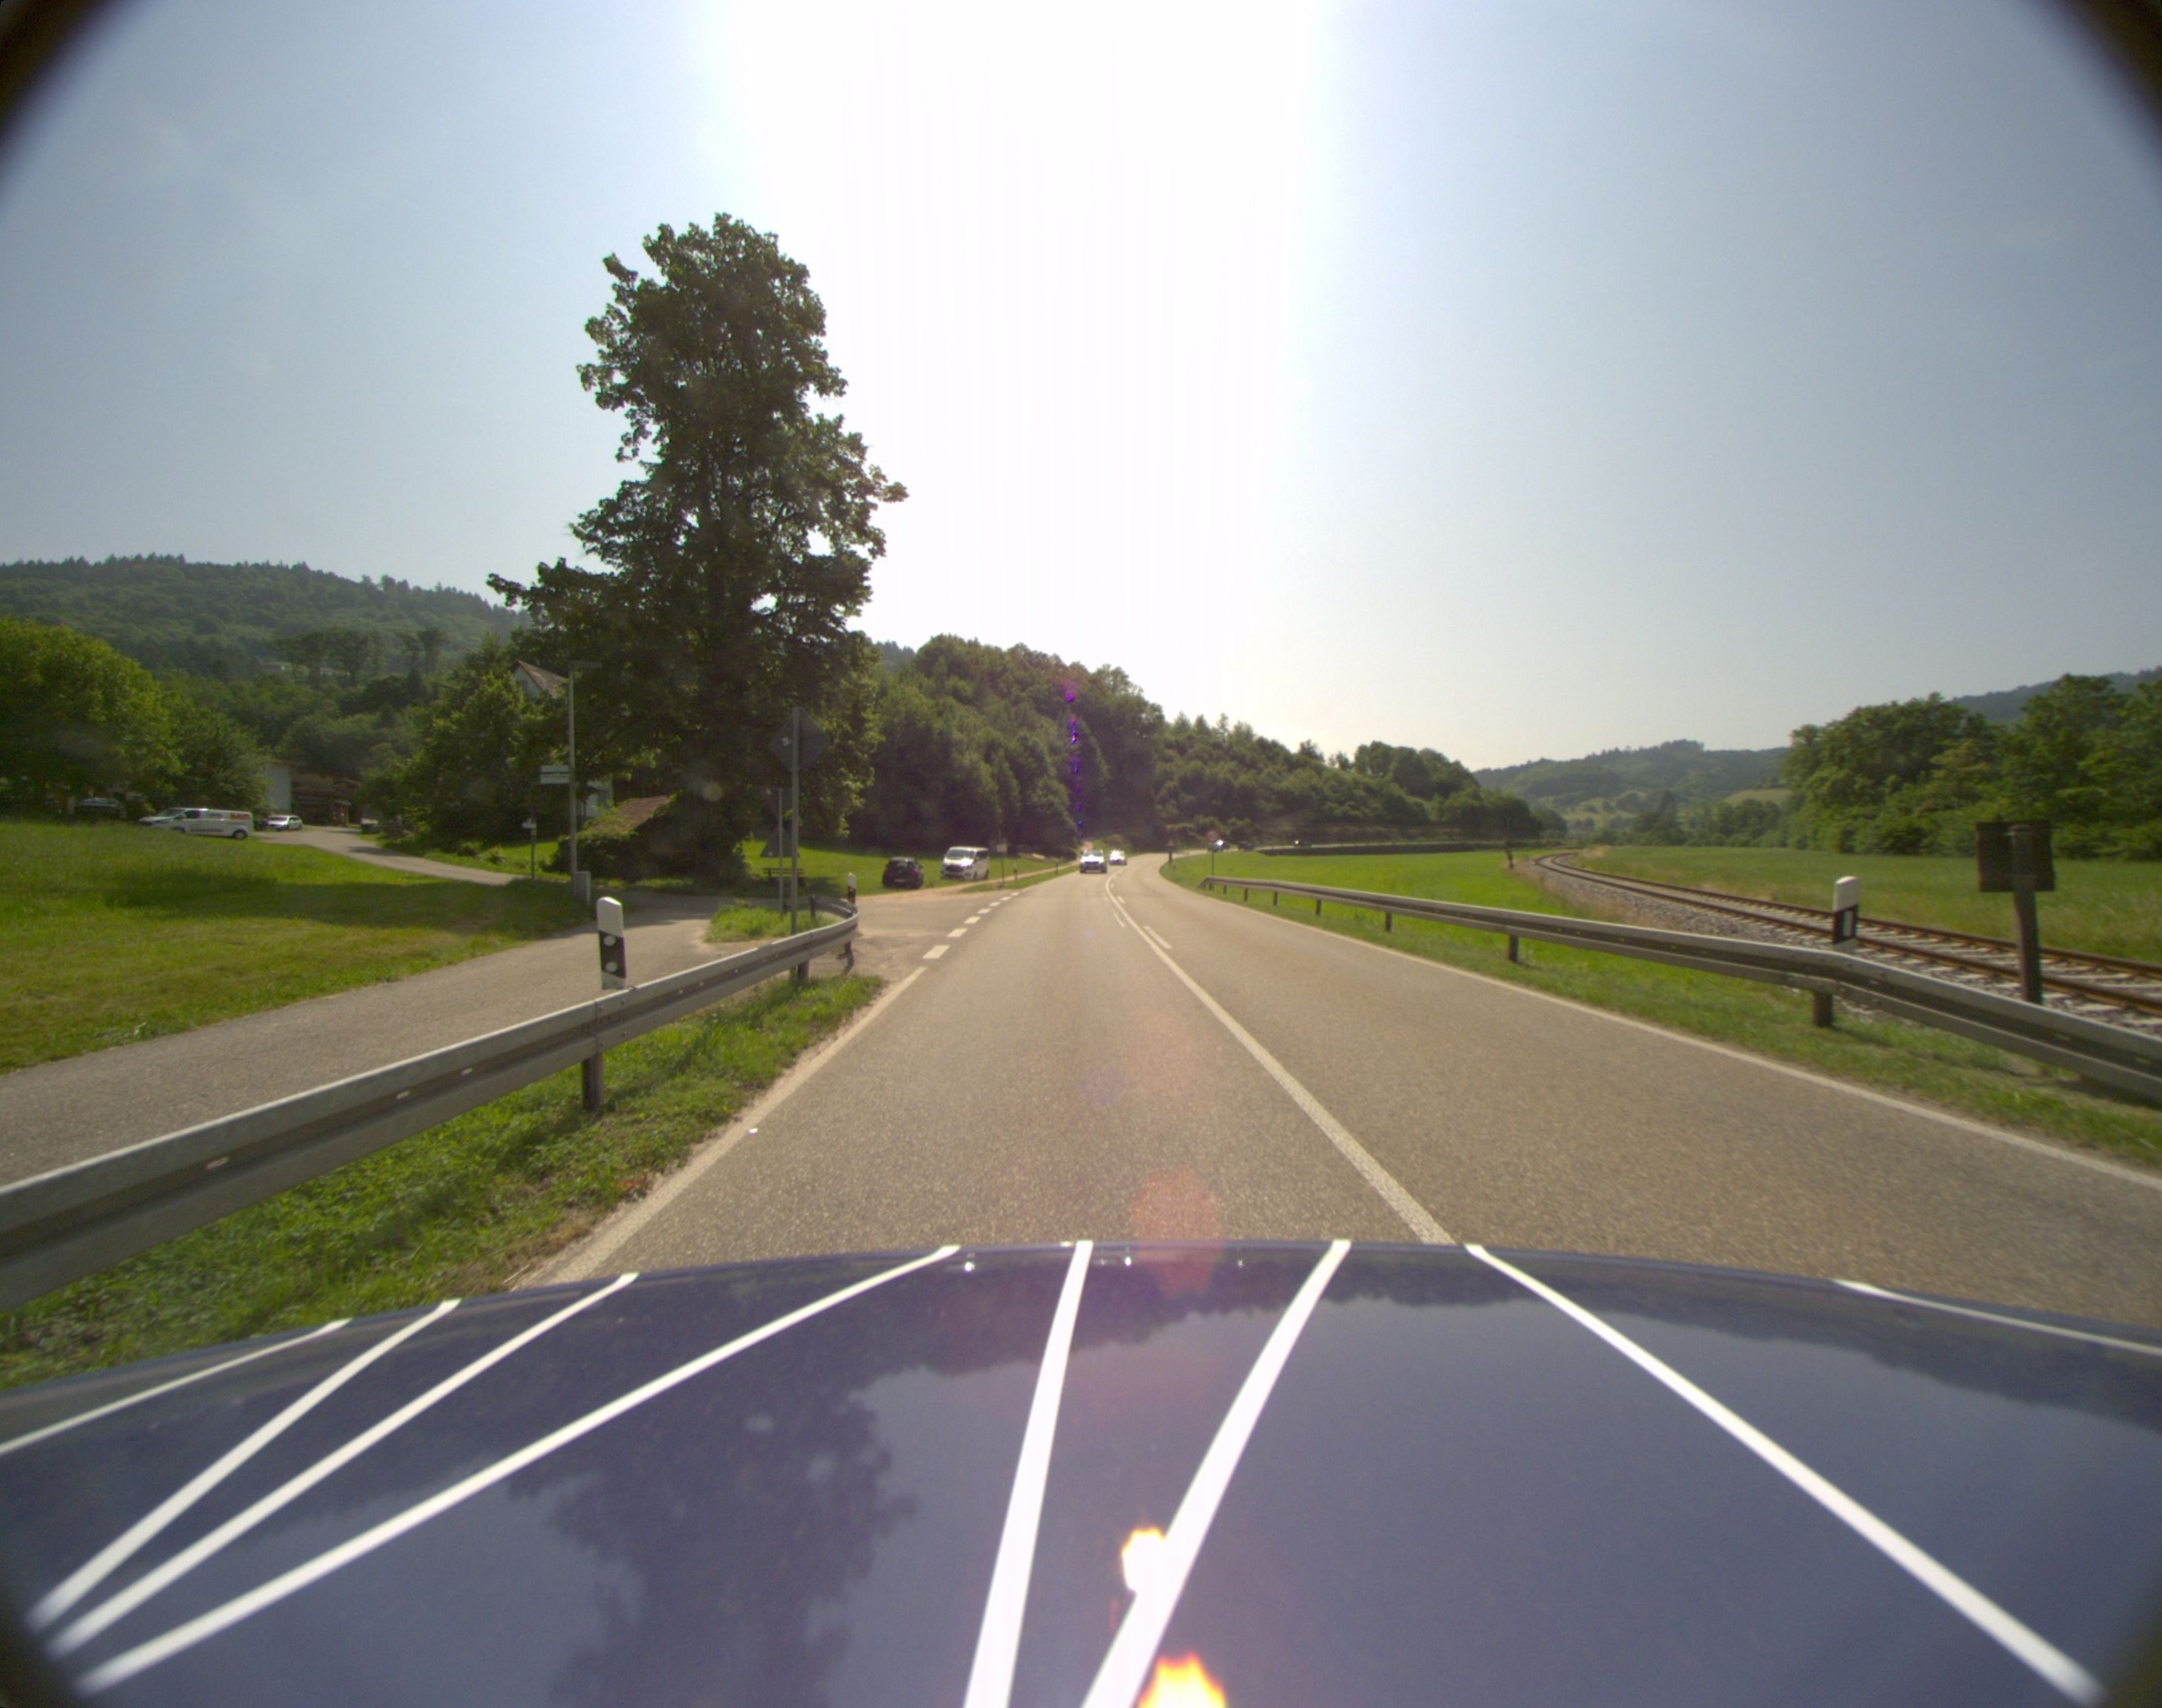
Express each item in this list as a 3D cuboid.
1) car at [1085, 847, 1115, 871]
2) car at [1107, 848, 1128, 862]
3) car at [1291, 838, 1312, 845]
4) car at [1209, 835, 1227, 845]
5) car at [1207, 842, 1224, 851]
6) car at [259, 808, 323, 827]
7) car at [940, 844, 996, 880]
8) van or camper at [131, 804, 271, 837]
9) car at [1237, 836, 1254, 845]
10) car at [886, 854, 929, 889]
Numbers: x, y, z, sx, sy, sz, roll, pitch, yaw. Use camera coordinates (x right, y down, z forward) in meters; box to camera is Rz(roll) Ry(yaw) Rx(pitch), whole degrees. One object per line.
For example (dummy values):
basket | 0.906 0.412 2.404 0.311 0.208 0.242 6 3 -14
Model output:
car | 1.422 0.357 59.058 2.118 1.804 4.454 0 1 -1
car | 3.906 0.076 80.835 2.146 1.482 4.673 0 0 2
car | 49.788 -2.818 171.500 4.519 1.461 1.919 1 -5 -33
car | 27.929 -2.890 155.083 1.994 2.002 4.008 1 1 37
car | 25.809 -1.416 145.770 1.916 1.704 4.167 1 1 30
car | -75.763 -3.515 72.934 1.998 1.608 4.000 0 0 1
car | -6.634 0.410 45.038 2.003 1.838 4.870 5 1 6
van or camper | -58.075 -2.184 50.364 2.815 1.938 5.438 1 1 5
car | 33.887 -2.796 156.757 1.866 1.614 4.519 -1 1 34
car | -8.321 0.795 36.728 1.679 1.449 3.711 2 2 -8
